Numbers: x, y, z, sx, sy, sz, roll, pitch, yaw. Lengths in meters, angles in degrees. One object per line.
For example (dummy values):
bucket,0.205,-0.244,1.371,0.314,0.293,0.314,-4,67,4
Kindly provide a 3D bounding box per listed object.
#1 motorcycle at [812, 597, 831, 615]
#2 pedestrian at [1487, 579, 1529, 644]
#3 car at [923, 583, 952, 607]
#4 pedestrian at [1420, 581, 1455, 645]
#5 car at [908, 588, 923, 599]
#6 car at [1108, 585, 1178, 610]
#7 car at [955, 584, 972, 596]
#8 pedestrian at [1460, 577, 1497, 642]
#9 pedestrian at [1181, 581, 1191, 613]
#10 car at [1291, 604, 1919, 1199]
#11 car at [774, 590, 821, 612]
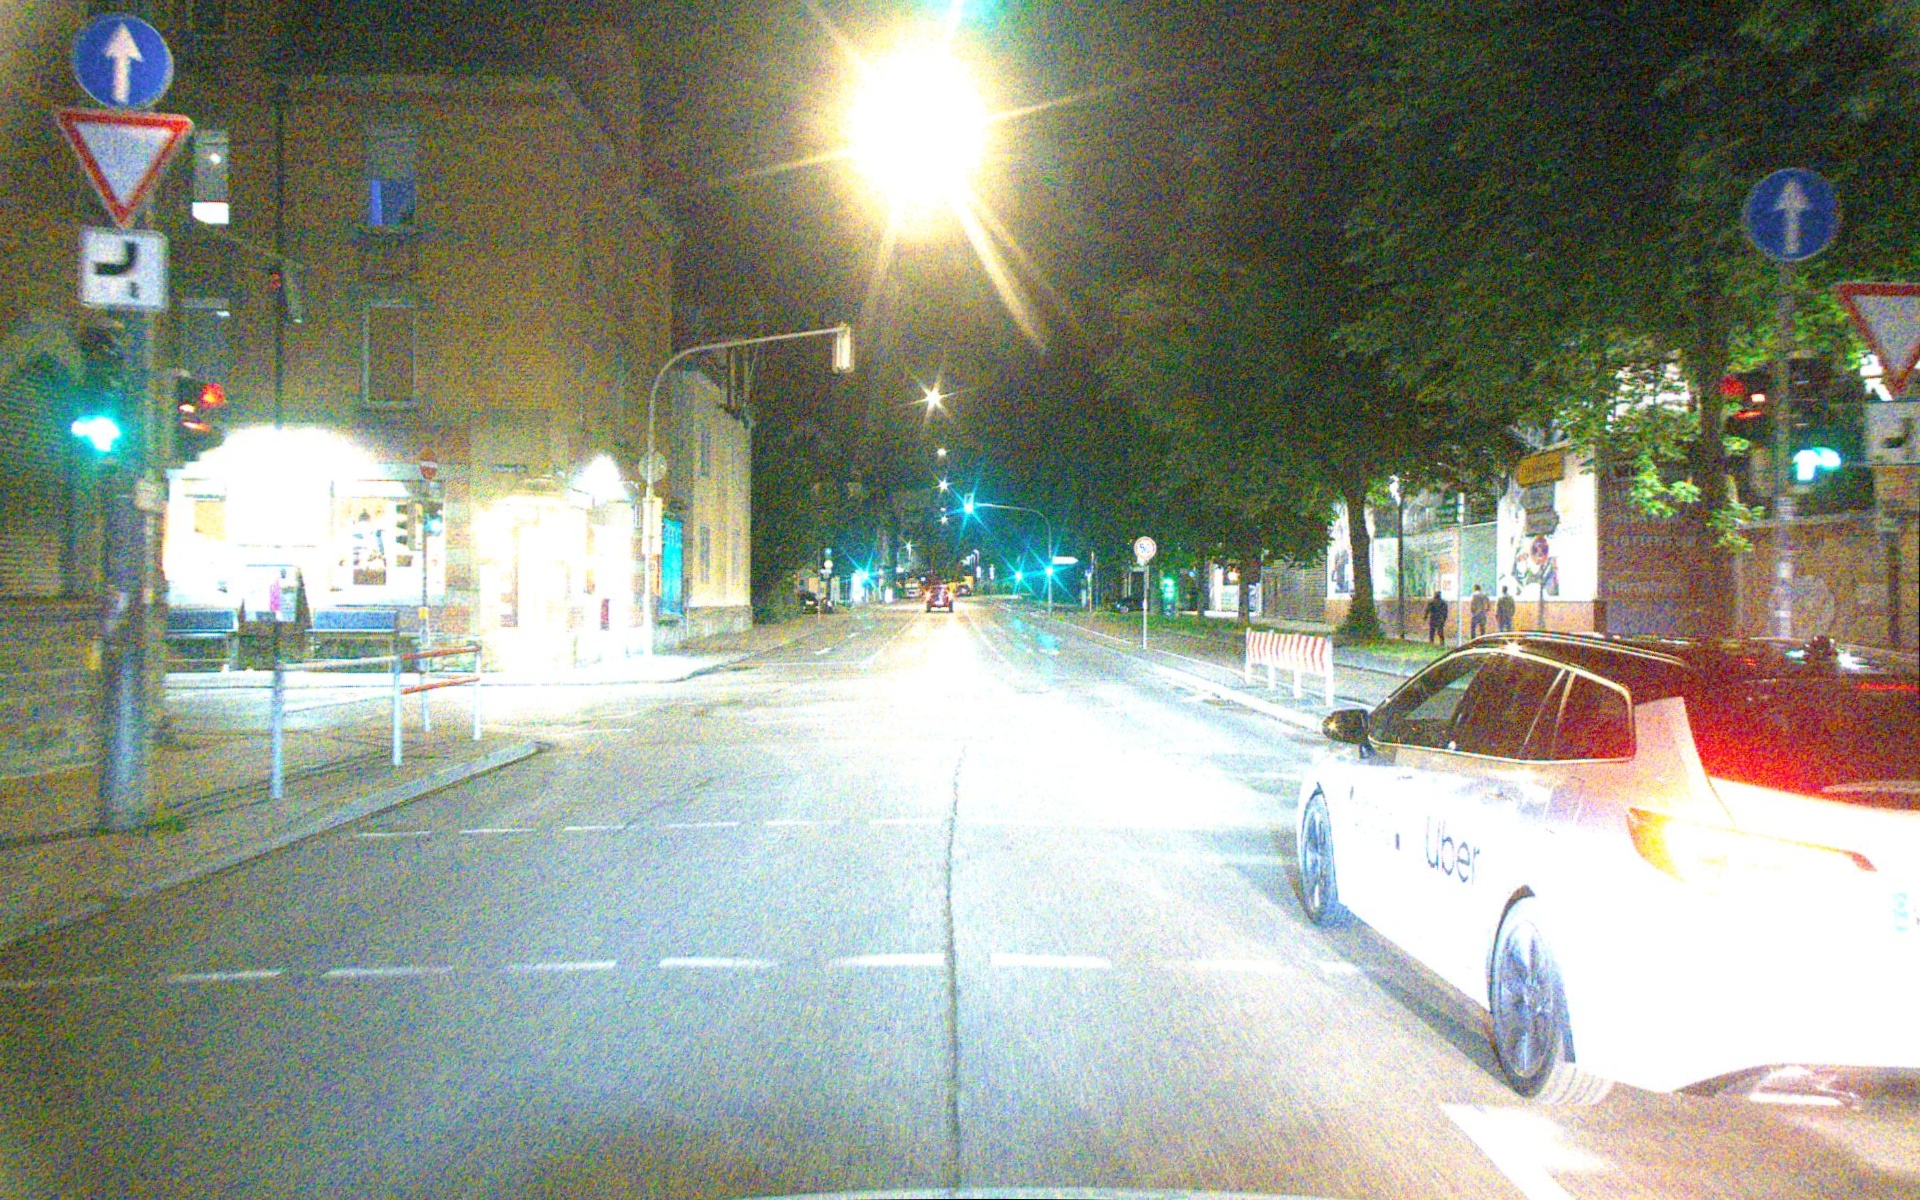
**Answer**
motorcycle,-9.582,0.423,114.201,0.769,1.225,2.436,-1,0,-19
pedestrian,15.642,0.323,47.205,0.882,1.800,0.907,-1,0,-1
car,-1.627,-0.356,117.138,1.953,1.668,3.998,0,0,-2
pedestrian,13.550,0.356,46.980,0.699,1.800,0.907,-1,0,-1
car,-5.604,-0.810,208.653,1.742,1.414,3.998,-1,0,-2
car,10.576,-0.161,95.918,3.904,1.410,1.772,-1,0,2
car,0.459,-1.347,223.175,1.954,1.624,3.998,-1,0,-3
pedestrian,14.660,0.260,46.792,0.723,1.800,0.907,-1,0,-1
pedestrian,14.346,-0.193,105.055,0.521,2.049,0.670,0,0,-1
car,2.586,0.787,6.192,1.694,1.460,4.209,2,0,-2
car,-11.515,0.057,116.989,1.786,1.512,3.956,-1,1,-32
